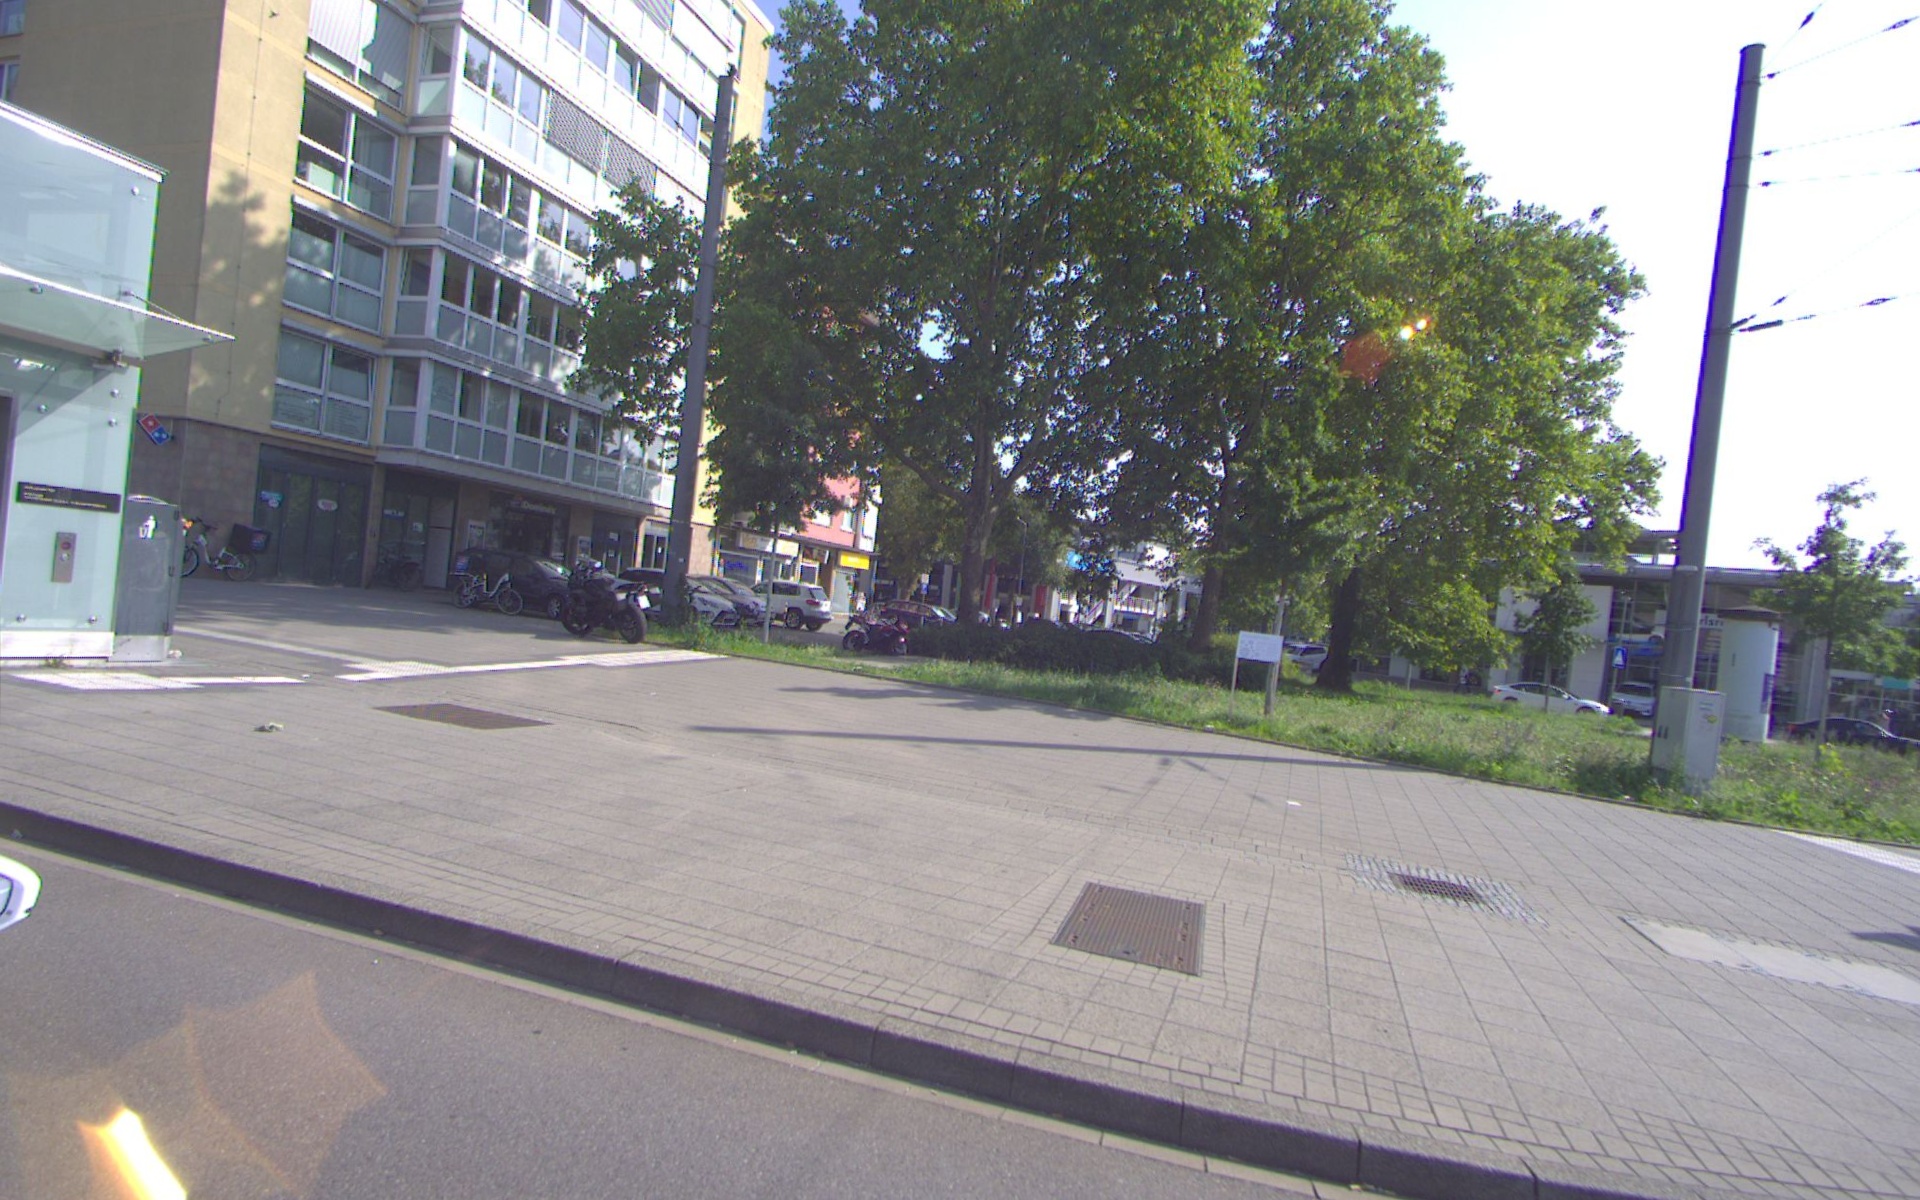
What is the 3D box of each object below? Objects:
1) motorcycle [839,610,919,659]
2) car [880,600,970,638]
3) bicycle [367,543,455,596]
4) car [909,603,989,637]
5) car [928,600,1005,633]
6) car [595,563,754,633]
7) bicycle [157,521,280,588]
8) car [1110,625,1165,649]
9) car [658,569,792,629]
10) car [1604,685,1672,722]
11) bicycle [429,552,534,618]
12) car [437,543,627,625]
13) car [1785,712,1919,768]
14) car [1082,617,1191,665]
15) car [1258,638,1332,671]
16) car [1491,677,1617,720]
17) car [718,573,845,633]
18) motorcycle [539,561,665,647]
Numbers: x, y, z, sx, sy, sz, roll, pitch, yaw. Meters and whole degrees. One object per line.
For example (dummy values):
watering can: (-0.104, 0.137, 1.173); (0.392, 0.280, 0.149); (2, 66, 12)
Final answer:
motorcycle: (-2.047, 0.868, 25.411); (1.926, 1.014, 0.703); (7, 1, 35)
car: (-1.745, 0.959, 50.595); (3.925, 1.393, 2.000); (7, 0, 18)
bicycle: (-14.424, -0.773, 26.490); (0.658, 1.199, 2.023); (7, 1, 19)
car: (-0.619, 1.111, 55.393); (3.925, 1.393, 1.742); (7, 0, 18)
car: (0.363, 0.957, 57.437); (3.925, 1.393, 1.742); (7, 0, 18)
car: (-8.283, -0.061, 29.232); (3.926, 1.526, 1.999); (7, 0, 20)
bicycle: (-15.786, -0.935, 21.496); (0.658, 1.221, 2.023); (7, 1, 19)
car: (14.464, 2.996, 81.889); (3.939, 1.393, 1.736); (7, 0, 37)
car: (-8.029, -0.027, 34.463); (3.926, 1.526, 1.999); (7, 0, 20)
car: (33.898, 5.206, 50.262); (1.974, 1.480, 4.300); (7, 0, 44)
bicycle: (-10.915, -0.343, 22.932); (2.257, 1.250, 0.524); (7, 1, 15)
car: (-10.382, -0.384, 24.413); (4.116, 1.459, 1.661); (7, 0, 20)
car: (33.201, 5.143, 36.873); (4.341, 1.387, 1.988); (7, 0, 45)
car: (7.052, 1.639, 40.110); (3.925, 1.393, 2.000); (7, 0, 18)
car: (20.510, 3.333, 61.639); (4.013, 1.480, 1.986); (7, 0, -28)
car: (25.897, 4.268, 43.930); (4.337, 1.180, 1.990); (7, 0, 41)
car: (-6.470, 0.127, 36.476); (3.926, 1.665, 1.999); (7, 0, 20)
motorcycle: (-5.959, 0.052, 16.688); (2.265, 1.161, 0.703); (7, 1, 35)
